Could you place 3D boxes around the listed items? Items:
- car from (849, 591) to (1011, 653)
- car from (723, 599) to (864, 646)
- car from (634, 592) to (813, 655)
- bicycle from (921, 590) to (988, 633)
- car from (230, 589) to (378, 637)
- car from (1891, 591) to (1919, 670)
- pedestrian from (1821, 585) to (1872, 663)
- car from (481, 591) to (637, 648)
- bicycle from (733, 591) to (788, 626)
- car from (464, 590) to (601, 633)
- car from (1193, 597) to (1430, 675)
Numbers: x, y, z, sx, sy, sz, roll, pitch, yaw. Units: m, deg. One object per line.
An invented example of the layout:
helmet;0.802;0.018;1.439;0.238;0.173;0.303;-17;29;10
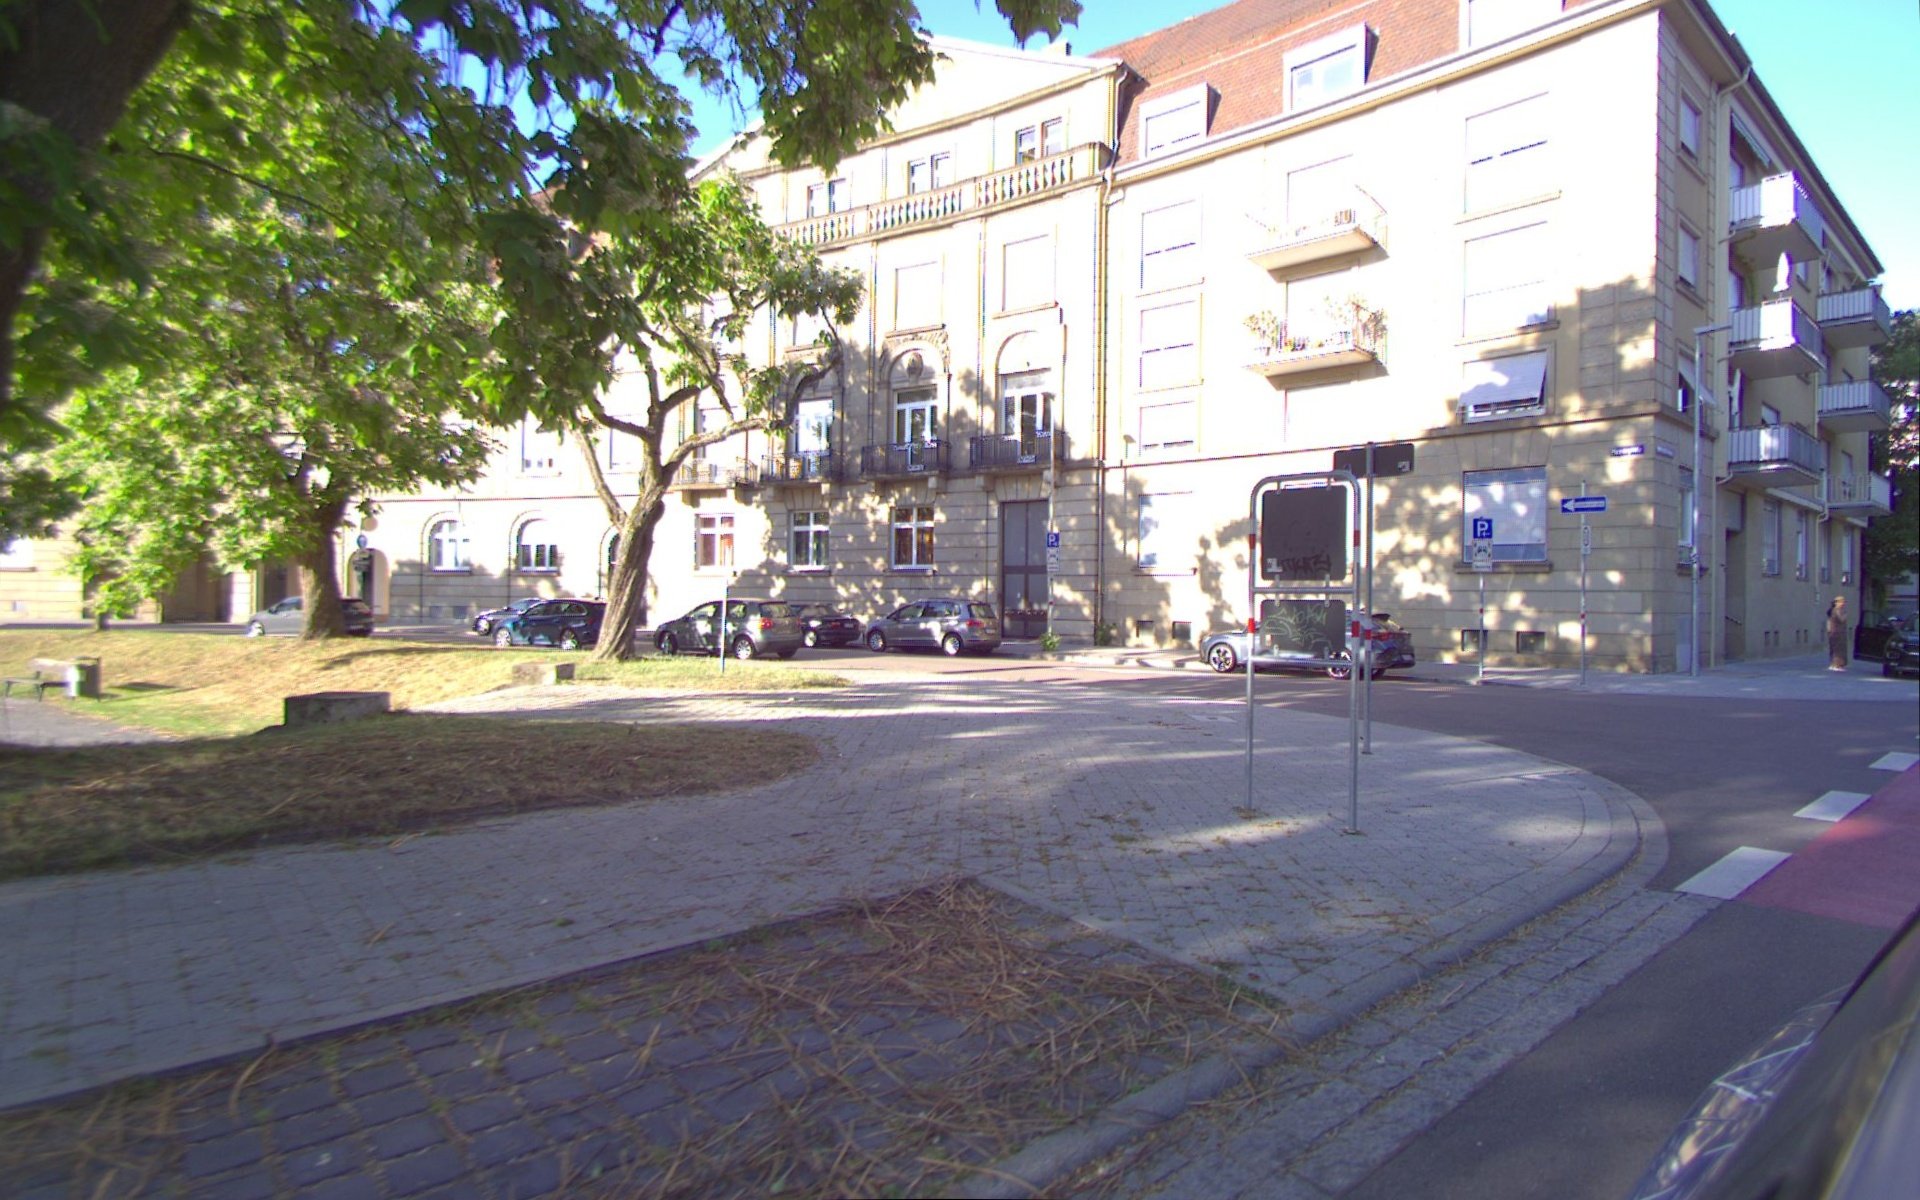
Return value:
car;-0.884;0.564;28.914;4.420;1.620;1.782;1;1;32
car;-5.263;0.667;31.761;4.412;1.341;1.491;1;1;28
car;-5.953;0.530;25.319;4.330;1.435;1.826;1;1;30
bicycle;-0.191;0.360;32.967;2.240;1.327;0.607;1;1;33
car;-21.065;0.367;32.516;4.317;1.435;1.808;1;1;21
car;22.204;0.707;22.474;4.271;1.646;1.707;1;2;-41
pedestrian;21.391;0.568;24.427;0.721;1.854;0.554;0;-1;14
car;-11.210;0.498;28.233;4.395;1.435;1.552;1;1;27
bicycle;-7.407;0.297;37.530;2.102;1.245;0.609;1;1;26
car;-15.565;0.383;36.878;4.589;1.435;1.809;1;1;19
car;7.438;0.685;21.693;1.905;1.436;4.441;-1;1;-45
